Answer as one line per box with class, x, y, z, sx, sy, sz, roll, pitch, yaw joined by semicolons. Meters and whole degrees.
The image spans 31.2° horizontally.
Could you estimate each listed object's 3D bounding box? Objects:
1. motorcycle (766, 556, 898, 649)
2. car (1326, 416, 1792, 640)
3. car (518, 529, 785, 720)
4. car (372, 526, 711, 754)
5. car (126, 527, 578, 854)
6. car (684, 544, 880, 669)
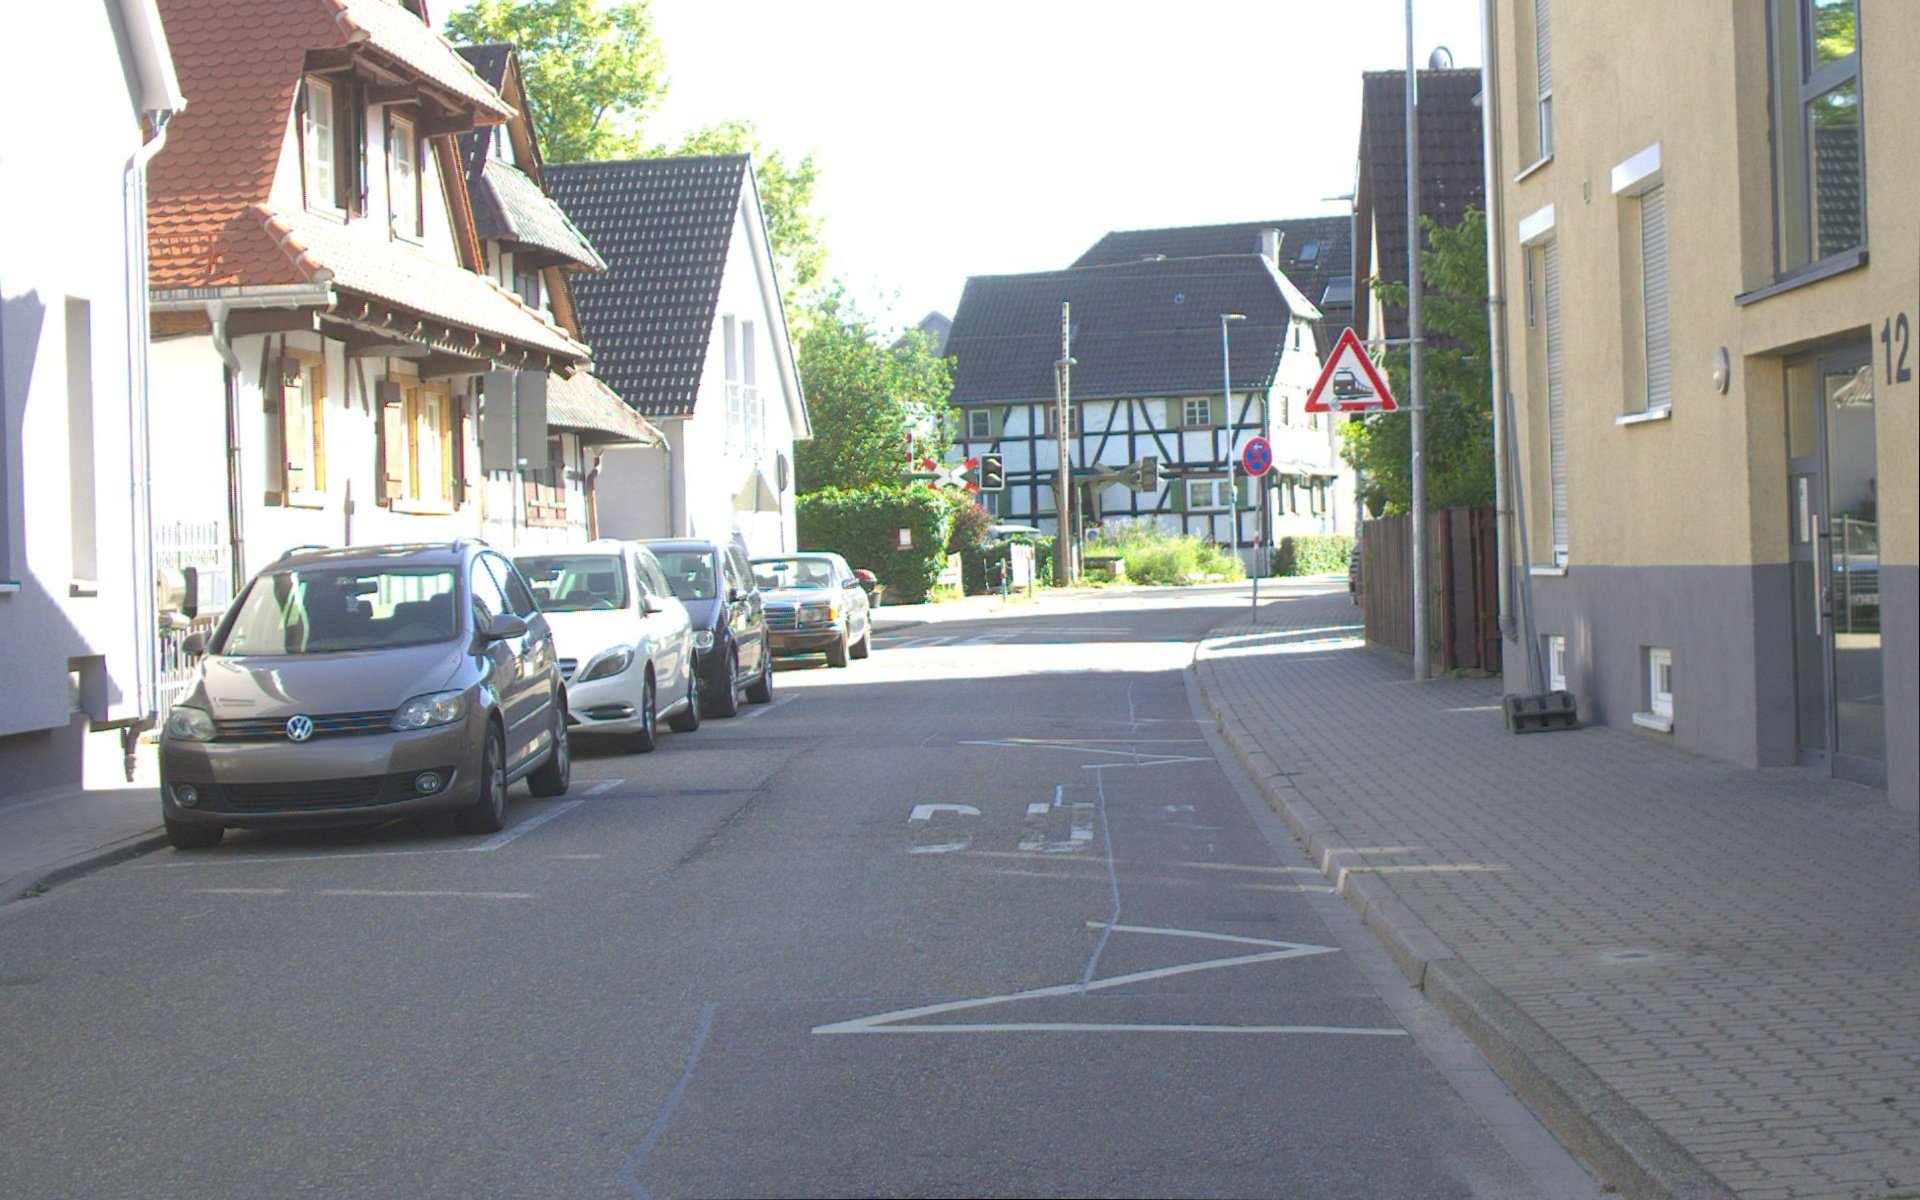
motorcycle;-1.758;0.041;46.931;0.625;1.227;1.994;-3;2;-42
car;8.033;-0.947;46.477;5.803;2.646;1.968;-3;0;0
car;-2.775;0.183;31.855;1.784;1.599;4.361;-2;1;4
car;-3.109;0.267;26.379;1.816;1.561;4.168;-2;0;4
car;-3.300;0.441;19.402;1.742;1.608;4.000;-2;0;1
car;-2.166;0.053;43.159;1.845;1.401;5.036;-3;0;4
